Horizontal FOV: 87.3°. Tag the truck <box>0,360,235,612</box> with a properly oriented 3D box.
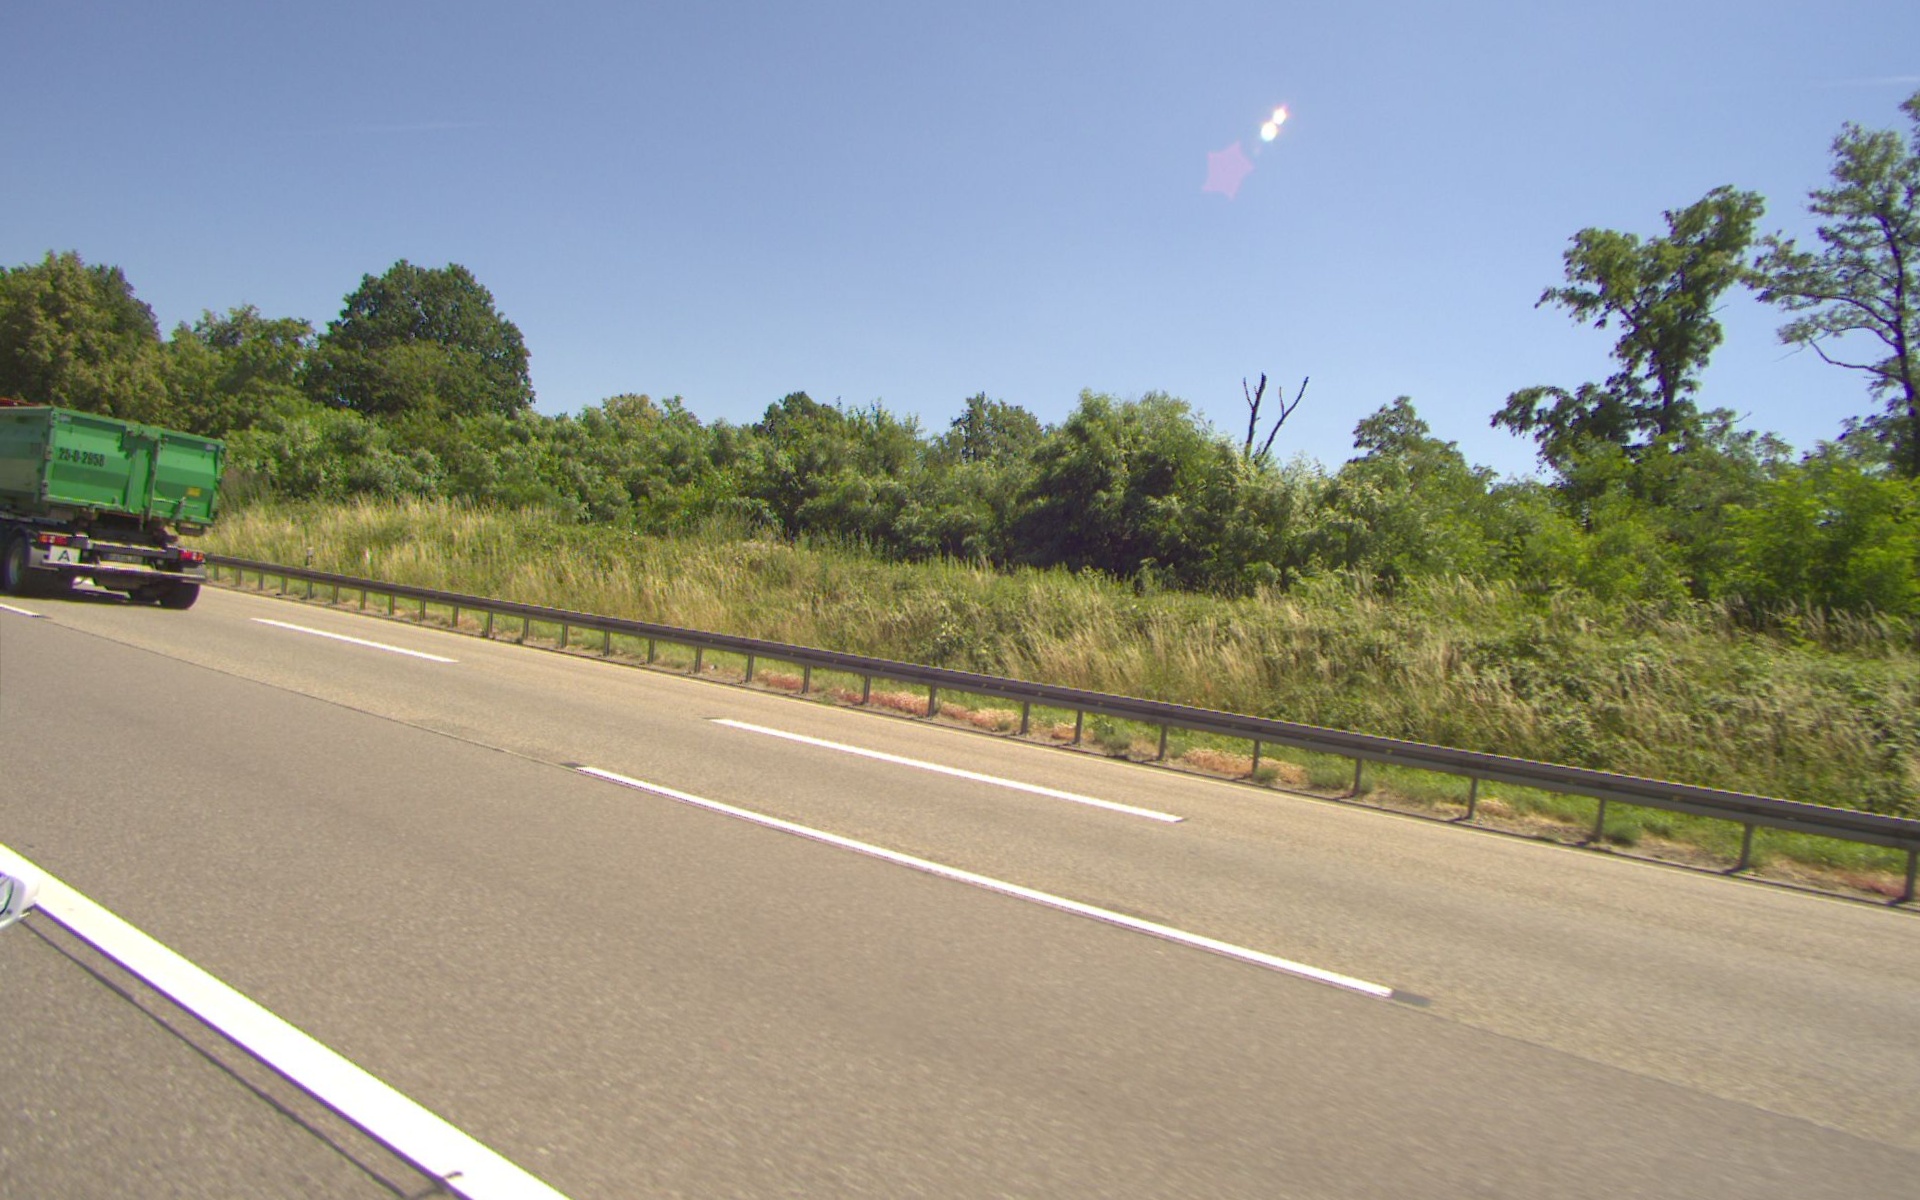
[{"bbox_3d":[-19.417,-2.406,20.509,12.271,3.842,2.686,7,-1,32],"label":"truck"}]
